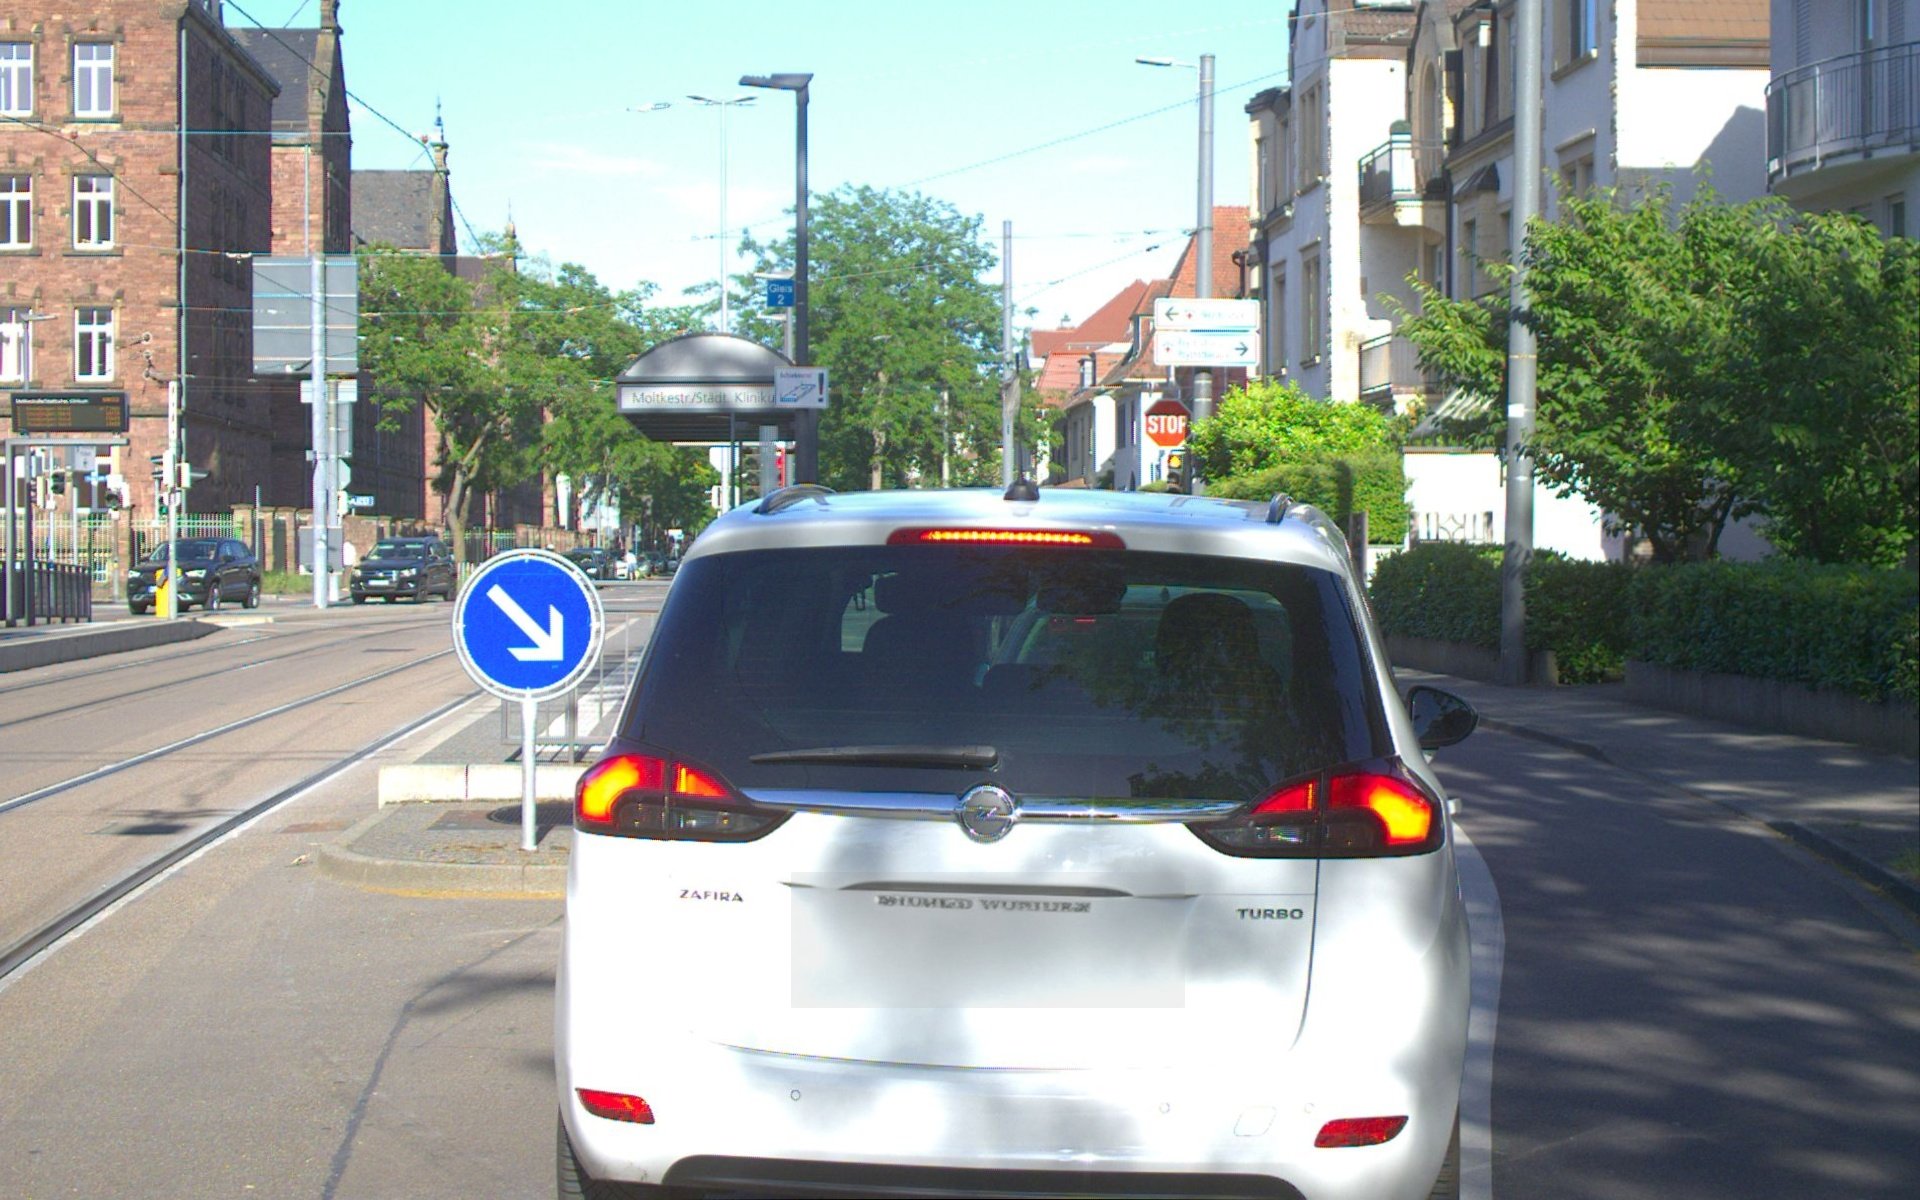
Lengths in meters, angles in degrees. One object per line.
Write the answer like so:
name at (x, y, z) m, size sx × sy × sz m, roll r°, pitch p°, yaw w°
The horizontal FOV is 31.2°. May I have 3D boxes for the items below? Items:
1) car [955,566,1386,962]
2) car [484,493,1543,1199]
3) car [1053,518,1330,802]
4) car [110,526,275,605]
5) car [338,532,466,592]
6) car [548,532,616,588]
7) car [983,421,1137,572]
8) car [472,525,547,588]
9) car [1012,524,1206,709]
car at (0.950, 0.593, 14.788) m, size 1.569 × 1.396 × 3.783 m, roll 2°, pitch 1°, yaw 5°
car at (0.254, 0.564, 8.089) m, size 1.878 × 1.579 × 3.999 m, roll 0°, pitch 1°, yaw 5°
car at (1.408, 0.312, 22.021) m, size 1.569 × 1.609 × 3.784 m, roll 2°, pitch 1°, yaw 2°
car at (-16.140, -0.704, 72.531) m, size 1.828 × 1.611 × 4.325 m, roll 1°, pitch 0°, yaw 11°
car at (-13.962, -0.927, 86.193) m, size 1.828 × 1.441 × 4.325 m, roll 1°, pitch 0°, yaw 10°
car at (-13.903, -1.467, 126.750) m, size 1.993 × 2.007 × 4.000 m, roll 1°, pitch 1°, yaw 1°
car at (1.127, -1.223, 40.289) m, size 1.596 × 1.629 × 3.902 m, roll 2°, pitch 2°, yaw -1°
car at (-13.124, -1.238, 100.398) m, size 1.827 × 1.782 × 4.328 m, roll 0°, pitch 0°, yaw -3°
car at (1.387, 0.116, 33.283) m, size 1.596 × 1.629 × 3.901 m, roll 2°, pitch 1°, yaw -1°
